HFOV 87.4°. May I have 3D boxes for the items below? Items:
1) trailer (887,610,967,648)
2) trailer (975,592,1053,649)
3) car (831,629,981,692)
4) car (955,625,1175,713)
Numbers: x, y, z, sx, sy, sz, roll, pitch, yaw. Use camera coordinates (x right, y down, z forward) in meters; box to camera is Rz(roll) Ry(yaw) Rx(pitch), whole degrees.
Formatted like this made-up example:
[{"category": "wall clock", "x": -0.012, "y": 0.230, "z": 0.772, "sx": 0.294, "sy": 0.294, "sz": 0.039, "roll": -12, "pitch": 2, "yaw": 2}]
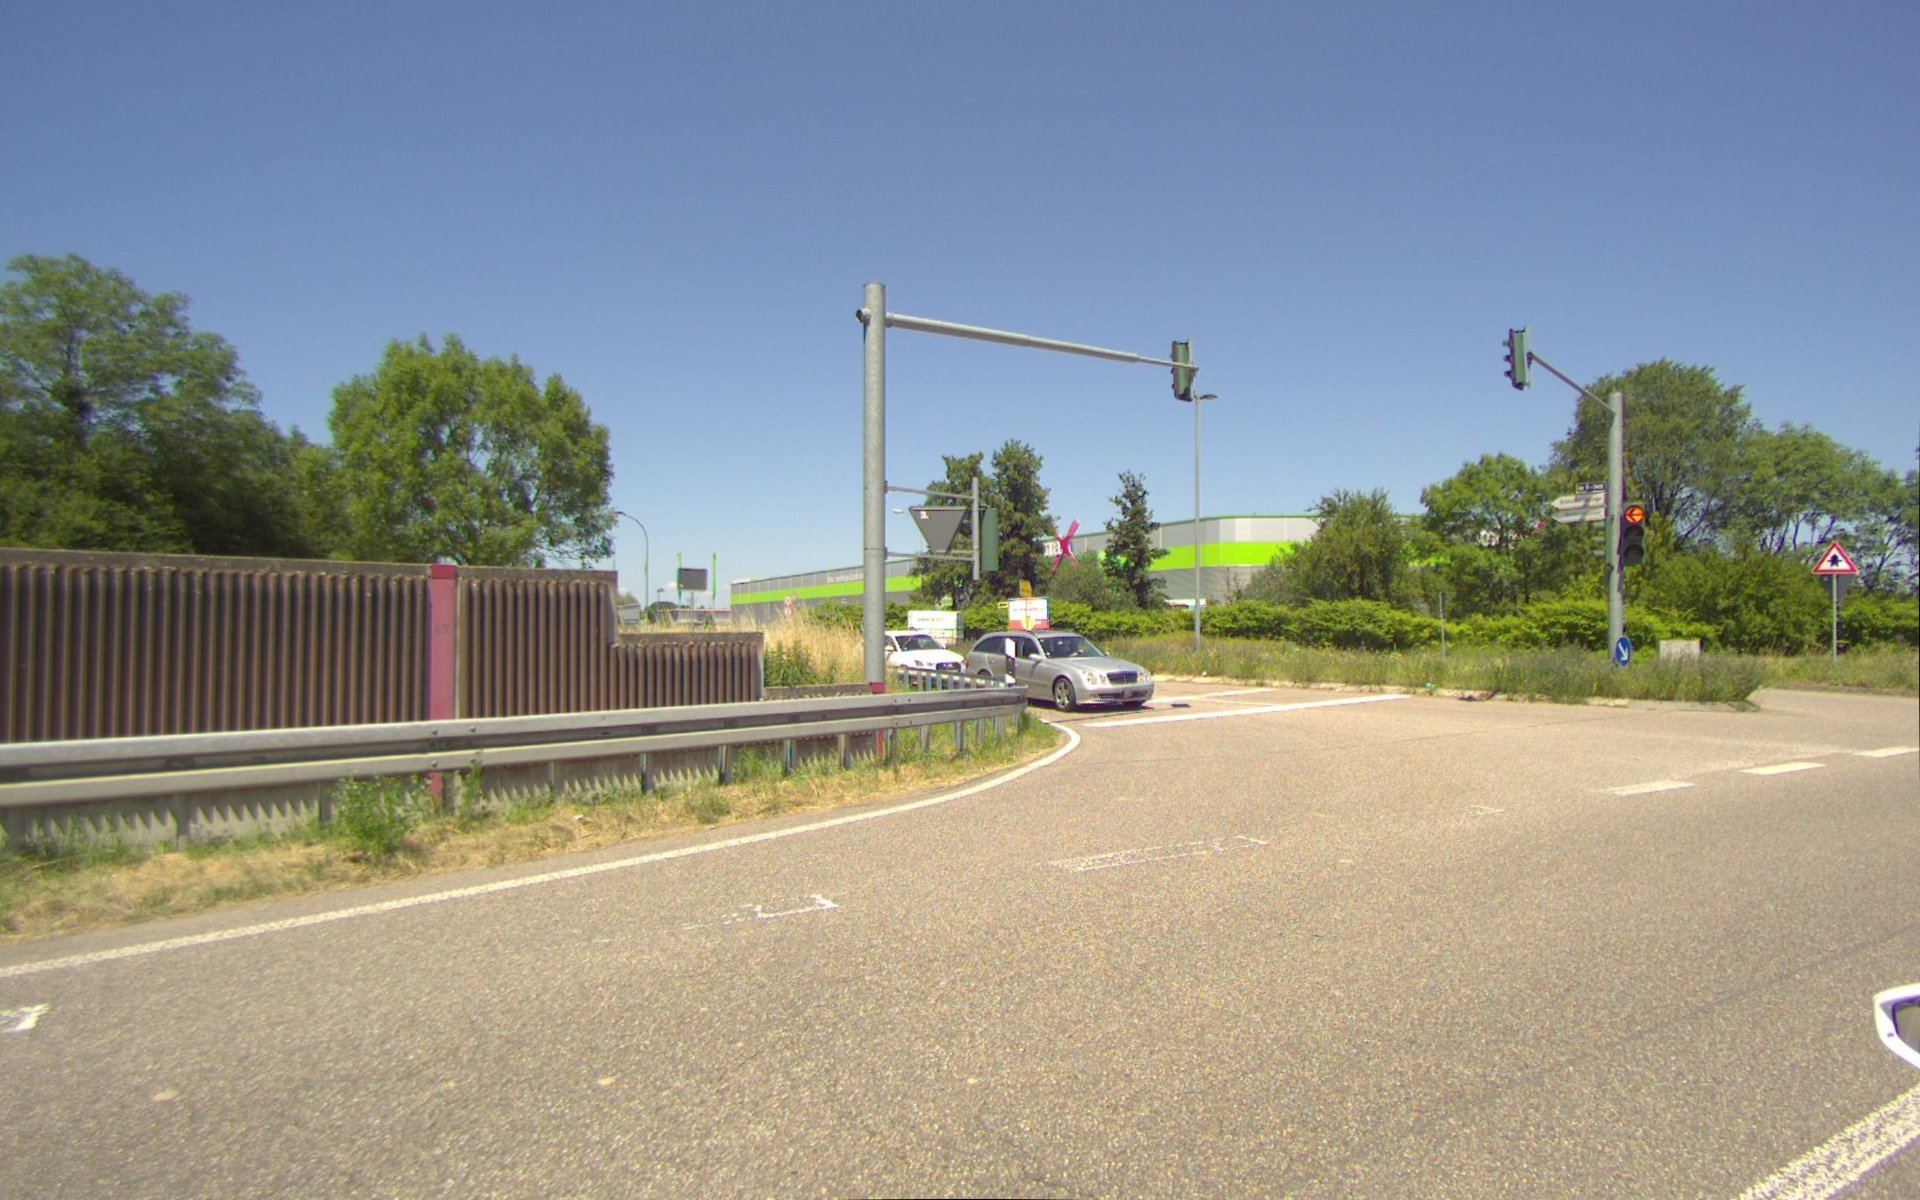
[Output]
[{"category": "trailer", "x": -1.663, "y": 1.459, "z": 50.919, "sx": 3.683, "sy": 1.815, "sz": 1.828, "roll": 0, "pitch": -1, "yaw": 15}, {"category": "trailer", "x": 2.799, "y": 1.031, "z": 51.339, "sx": 3.682, "sy": 2.801, "sz": 1.828, "roll": 0, "pitch": -1, "yaw": 14}, {"category": "car", "x": -1.456, "y": 1.502, "z": 25.996, "sx": 1.759, "sy": 1.417, "sz": 3.911, "roll": 0, "pitch": -1, "yaw": -44}, {"category": "car", "x": 1.915, "y": 1.271, "z": 20.087, "sx": 1.855, "sy": 1.476, "sz": 4.931, "roll": 1, "pitch": -1, "yaw": -30}]
